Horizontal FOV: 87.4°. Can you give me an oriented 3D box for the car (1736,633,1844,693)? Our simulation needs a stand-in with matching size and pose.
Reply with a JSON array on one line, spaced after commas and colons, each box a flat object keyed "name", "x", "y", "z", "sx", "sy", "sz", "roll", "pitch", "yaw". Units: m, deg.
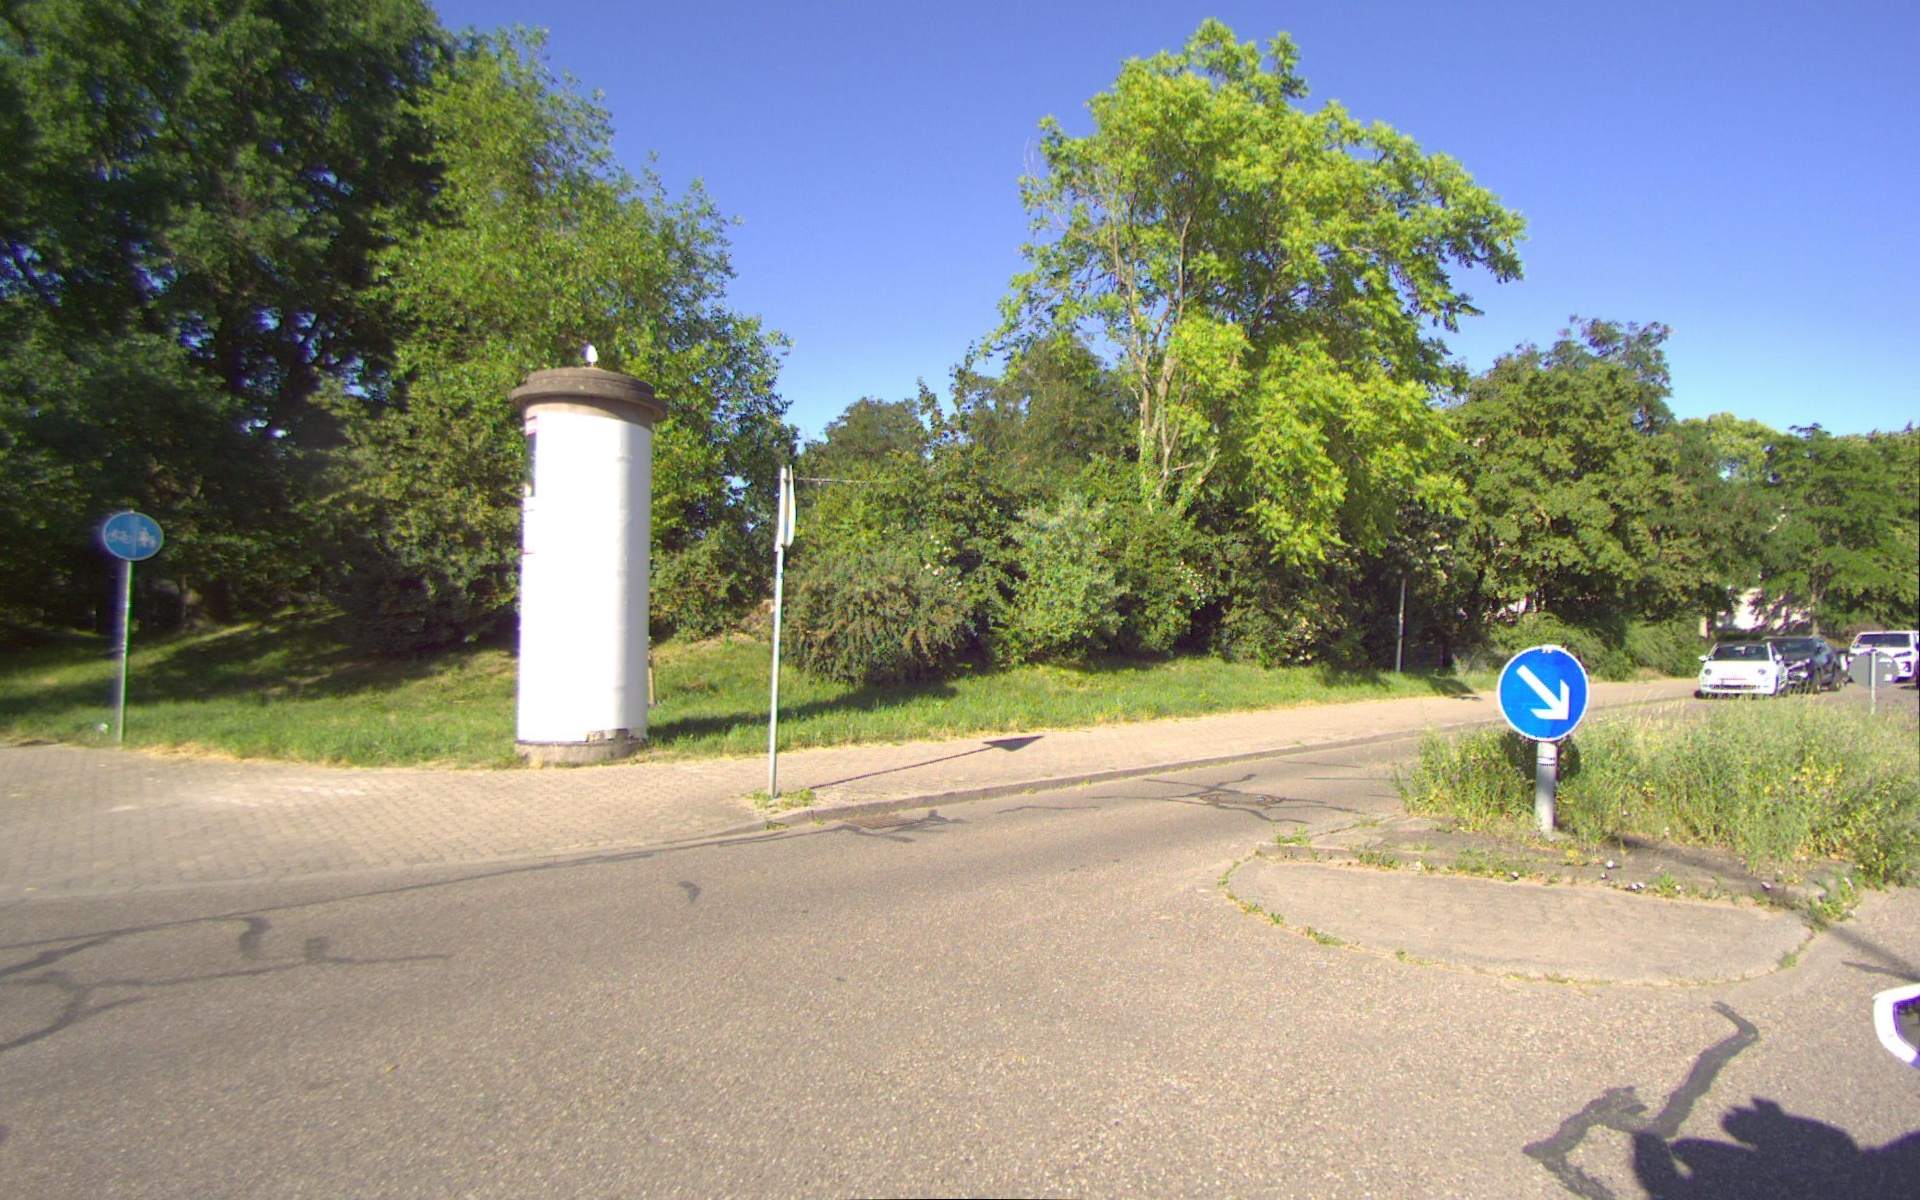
[{"name": "car", "x": 24.647, "y": 1.836, "z": 29.793, "sx": 4.215, "sy": 1.660, "sz": 1.661, "roll": 2, "pitch": -4, "yaw": -40}]

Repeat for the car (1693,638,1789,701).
[{"name": "car", "x": 20.678, "y": 1.781, "z": 26.550, "sx": 1.609, "sy": 1.547, "sz": 3.398, "roll": -2, "pitch": -3, "yaw": 44}]

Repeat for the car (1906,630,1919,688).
[{"name": "car", "x": 30.369, "y": 1.766, "z": 30.400, "sx": 4.148, "sy": 1.727, "sz": 1.899, "roll": 2, "pitch": -3, "yaw": -38}]

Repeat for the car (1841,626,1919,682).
[{"name": "car", "x": 34.675, "y": 1.975, "z": 37.536, "sx": 4.630, "sy": 1.987, "sz": 1.849, "roll": 2, "pitch": -3, "yaw": -39}]
